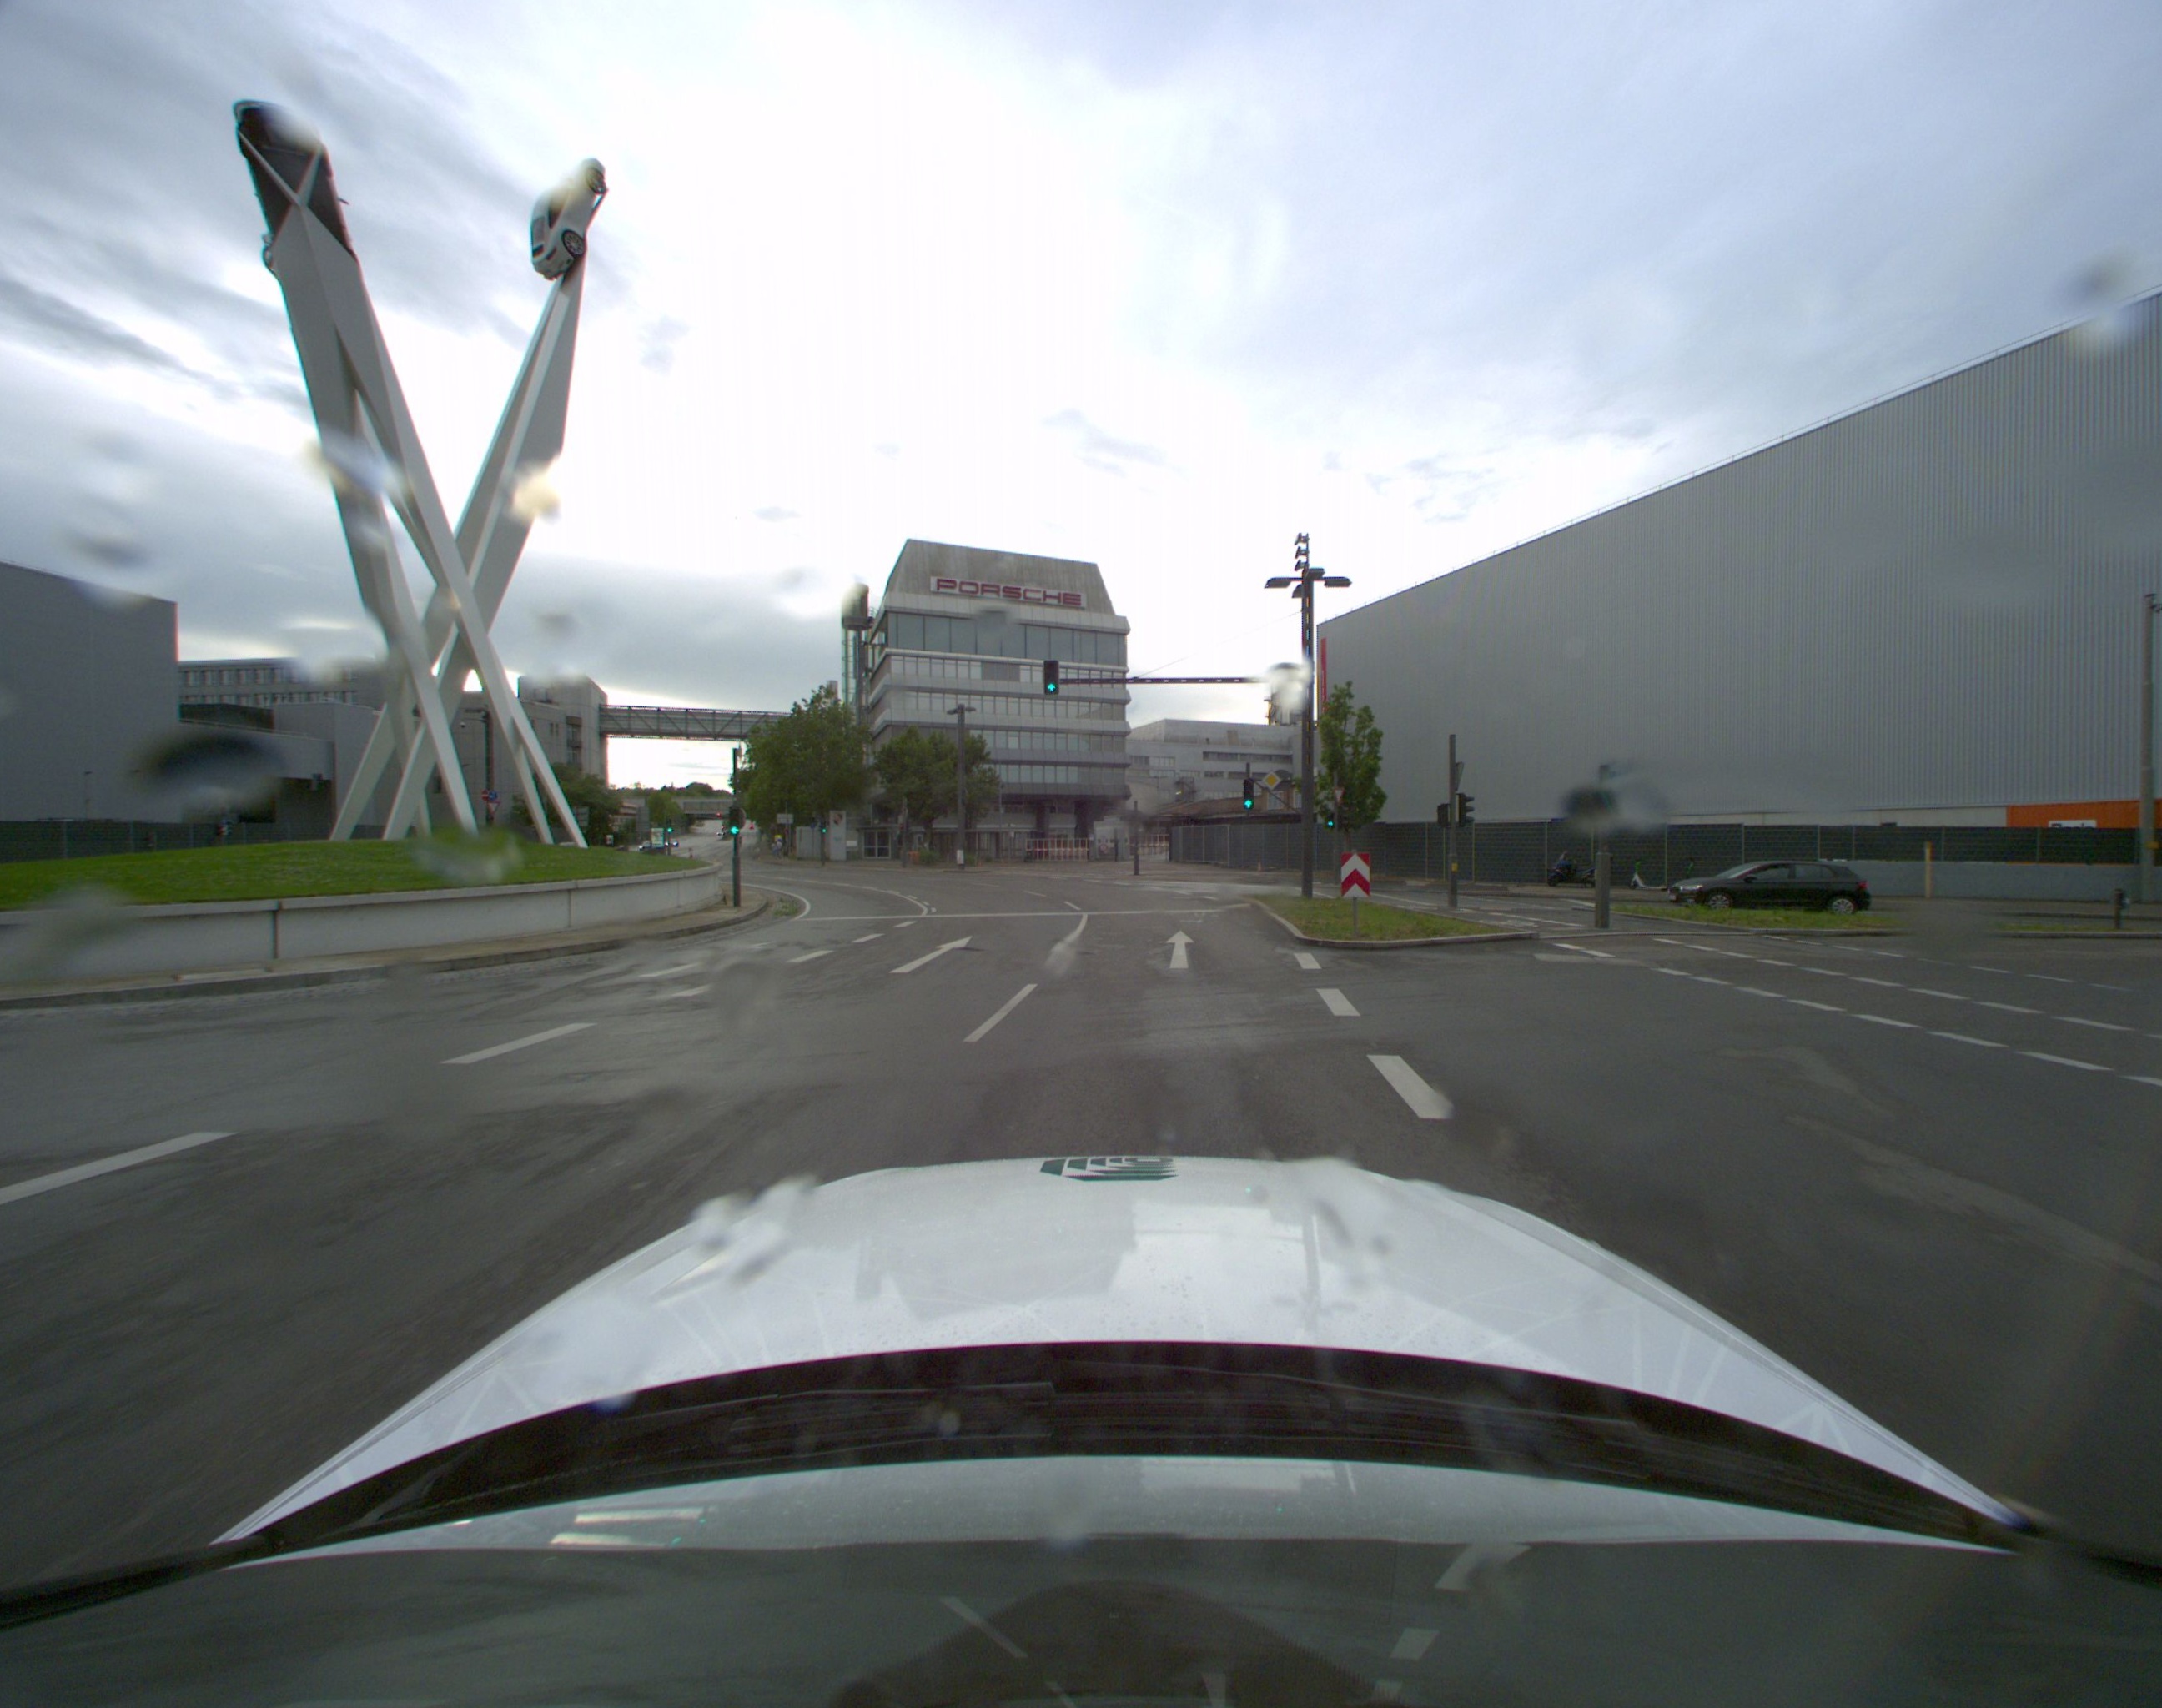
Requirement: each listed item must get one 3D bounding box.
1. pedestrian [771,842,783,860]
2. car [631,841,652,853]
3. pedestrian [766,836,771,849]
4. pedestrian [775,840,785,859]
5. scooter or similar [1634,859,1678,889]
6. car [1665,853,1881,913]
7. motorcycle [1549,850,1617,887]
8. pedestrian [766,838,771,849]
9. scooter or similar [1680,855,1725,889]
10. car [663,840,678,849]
[{"bbox_3d":[-25.801,-0.249,69.195,0.833,1.520,0.837,-1,1,-16],"label":"pedestrian"},{"bbox_3d":[-56.689,-0.908,105.129,1.790,1.440,4.365,-1,2,-21],"label":"car"},{"bbox_3d":[-44.540,-1.638,116.040,0.714,1.740,0.754,1,-2,-22],"label":"pedestrian"},{"bbox_3d":[-26.216,-0.375,70.903,0.711,1.592,0.836,-1,1,-18],"label":"pedestrian"},{"bbox_3d":[21.256,0.724,30.129,0.387,1.029,1.256,0,1,-40],"label":"scooter or similar"},{"bbox_3d":[17.937,0.710,21.338,3.953,1.425,1.729,1,0,20],"label":"car"},{"bbox_3d":[19.015,0.529,30.869,2.078,1.310,0.658,1,1,17],"label":"motorcycle"},{"bbox_3d":[-57.058,-1.881,148.687,0.763,2.013,0.691,0,0,-5],"label":"pedestrian"},{"bbox_3d":[22.793,0.653,29.870,1.254,1.199,0.428,1,1,31],"label":"scooter or similar"},{"bbox_3d":[-70.355,-1.600,139.674,1.790,1.385,4.513,-3,2,-22],"label":"car"}]
